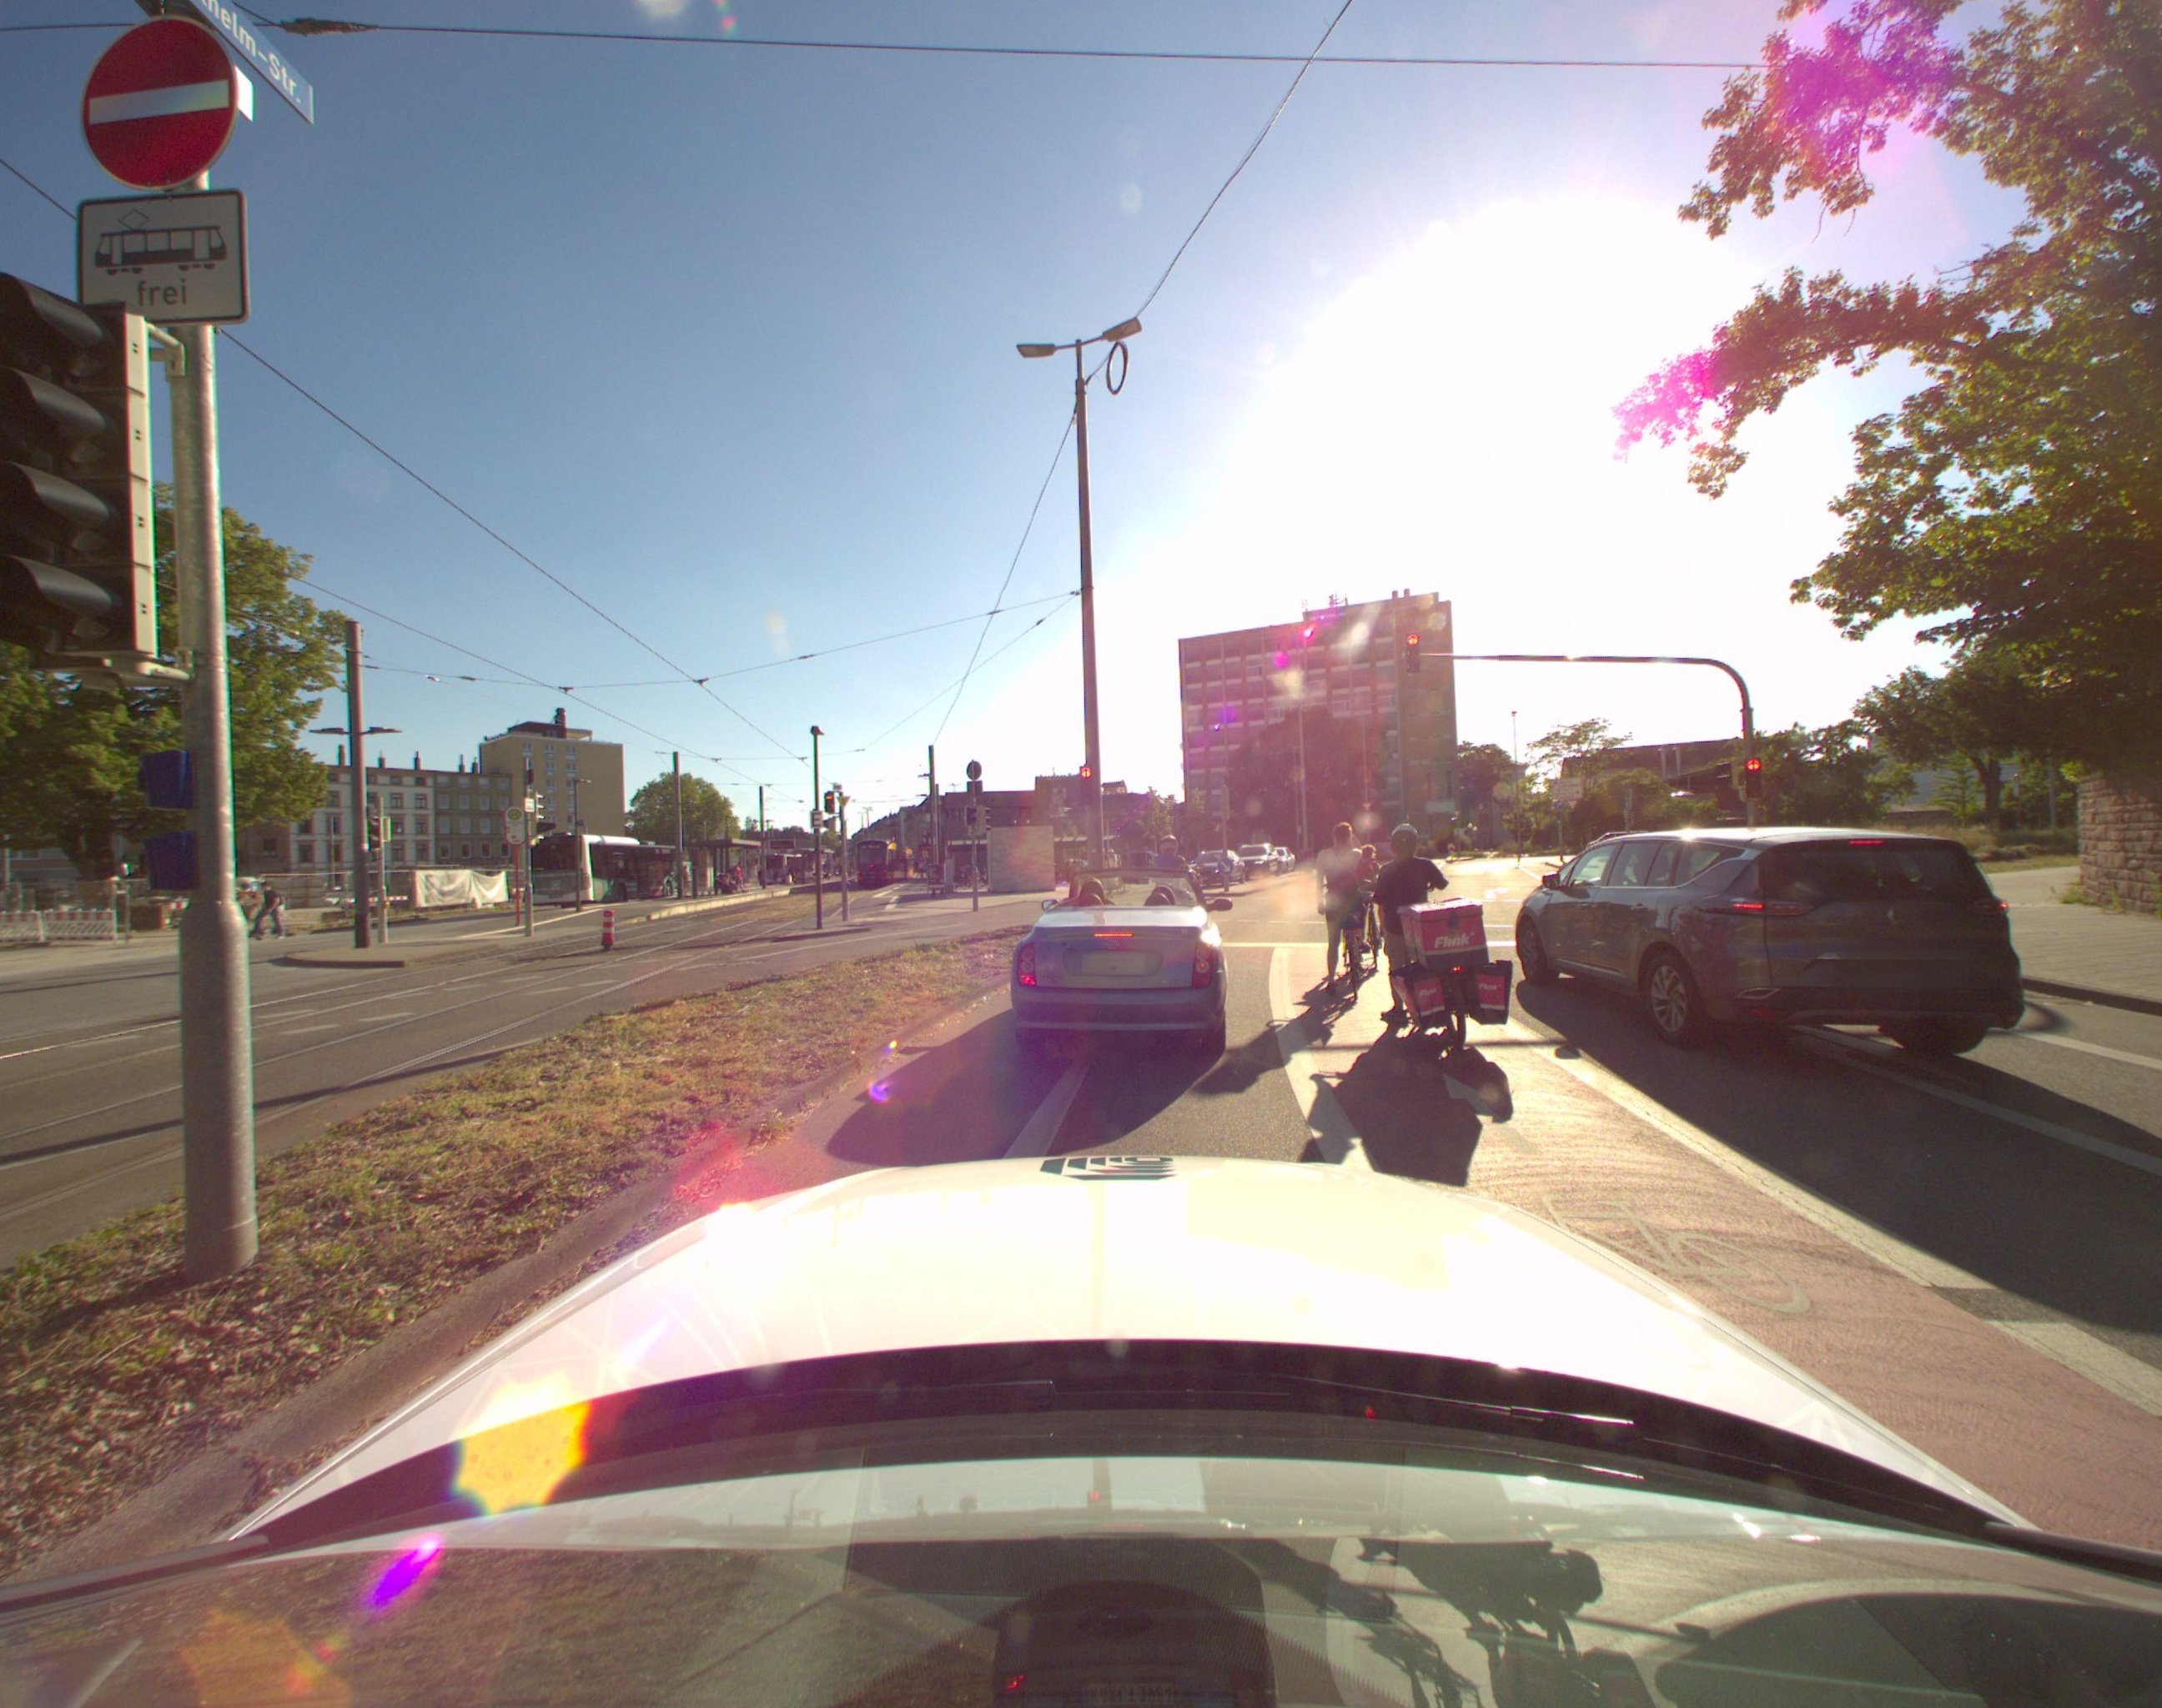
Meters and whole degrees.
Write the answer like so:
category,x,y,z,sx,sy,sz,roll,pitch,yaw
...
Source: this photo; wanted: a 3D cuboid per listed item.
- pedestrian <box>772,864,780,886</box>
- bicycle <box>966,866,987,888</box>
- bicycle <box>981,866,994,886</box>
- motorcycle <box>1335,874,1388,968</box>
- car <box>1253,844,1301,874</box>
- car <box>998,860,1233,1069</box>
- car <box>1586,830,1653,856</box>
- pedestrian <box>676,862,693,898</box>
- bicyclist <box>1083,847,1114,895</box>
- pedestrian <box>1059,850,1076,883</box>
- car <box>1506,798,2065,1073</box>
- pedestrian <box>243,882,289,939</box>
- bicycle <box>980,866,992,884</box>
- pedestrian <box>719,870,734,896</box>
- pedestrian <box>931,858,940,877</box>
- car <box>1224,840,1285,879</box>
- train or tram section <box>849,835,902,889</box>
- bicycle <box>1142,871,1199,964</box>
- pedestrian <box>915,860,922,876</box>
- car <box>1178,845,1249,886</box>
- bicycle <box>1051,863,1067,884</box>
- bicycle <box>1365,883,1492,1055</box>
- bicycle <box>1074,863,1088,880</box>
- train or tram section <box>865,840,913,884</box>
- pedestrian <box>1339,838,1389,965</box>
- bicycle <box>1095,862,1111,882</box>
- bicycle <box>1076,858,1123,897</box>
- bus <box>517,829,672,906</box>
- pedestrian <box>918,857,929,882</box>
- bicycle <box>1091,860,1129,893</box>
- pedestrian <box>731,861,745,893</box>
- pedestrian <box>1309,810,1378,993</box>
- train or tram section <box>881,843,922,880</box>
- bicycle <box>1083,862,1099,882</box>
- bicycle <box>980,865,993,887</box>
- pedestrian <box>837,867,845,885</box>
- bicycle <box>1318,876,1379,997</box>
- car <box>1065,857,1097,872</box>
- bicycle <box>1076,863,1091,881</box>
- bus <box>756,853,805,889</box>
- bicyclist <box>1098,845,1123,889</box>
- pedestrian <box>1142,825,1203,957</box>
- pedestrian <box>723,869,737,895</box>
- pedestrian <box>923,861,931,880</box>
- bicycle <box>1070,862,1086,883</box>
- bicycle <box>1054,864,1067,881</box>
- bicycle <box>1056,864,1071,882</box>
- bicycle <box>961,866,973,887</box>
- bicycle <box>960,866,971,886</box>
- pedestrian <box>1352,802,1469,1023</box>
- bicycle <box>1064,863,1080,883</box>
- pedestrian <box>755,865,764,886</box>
category,x,y,z,sx,sy,sz,roll,pitch,yaw
pedestrian,-25.175,1.716,67.227,0.571,1.749,0.636,-2,-1,-17
bicycle,-5.467,1.204,42.735,0.603,1.115,1.901,0,-1,8
bicycle,-5.375,1.225,46.734,0.607,1.115,1.890,0,-1,-10
motorcycle,3.826,0.845,11.104,0.608,1.097,2.371,-1,-1,19
car,11.165,0.252,46.216,1.678,1.560,4.004,-3,0,28
car,0.548,0.783,7.795,1.650,1.441,4.164,-1,-1,9
car,45.581,-0.920,68.998,4.645,1.945,1.927,-3,-1,33
pedestrian,-19.682,1.274,40.466,0.536,1.749,0.559,-2,-1,-4
bicyclist,0.627,0.596,28.903,0.702,1.657,0.906,-5,-2,24
pedestrian,-0.782,0.706,46.907,0.901,1.869,0.684,0,-1,-11
car,5.540,0.523,7.319,1.820,1.689,4.381,-1,-1,10
pedestrian,-25.505,1.763,25.504,0.712,1.697,0.893,-3,-2,-25
bicycle,-5.902,1.288,50.623,0.607,1.115,1.890,0,-1,-10
pedestrian,-18.603,1.521,42.775,0.617,1.340,0.438,-2,-1,-15
pedestrian,-13.504,1.235,75.692,0.639,1.749,0.732,-2,-1,-17
car,8.523,0.232,39.685,1.745,1.706,4.557,-4,-1,26
train or tram section,-15.262,0.583,61.215,2.881,3.597,12.158,0,-1,-10
bicycle,1.357,0.866,11.986,0.604,1.191,2.422,-1,-1,12
pedestrian,-18.073,1.531,90.534,0.604,1.749,0.830,-2,-1,-6
car,5.546,0.469,33.642,1.720,1.574,3.948,-1,-1,28
bicycle,-1.254,1.082,45.294,0.607,1.115,1.890,0,-1,-10
bicycle,2.934,0.873,7.094,0.550,1.171,2.380,-1,-1,12
bicycle,-0.031,1.133,53.390,0.607,1.115,1.890,0,-1,-10
train or tram section,-17.067,0.706,73.257,3.010,3.597,12.165,0,-1,-8
pedestrian,3.770,0.606,10.844,0.583,1.598,1.030,-1,-1,19
bicycle,1.238,1.007,45.679,0.606,1.115,1.892,0,-1,-7
bicycle,0.674,0.812,28.969,0.668,1.250,2.471,-5,-1,24
bus,-22.371,0.573,38.221,2.652,3.135,9.617,0,-1,-8
pedestrian,-11.095,1.092,57.290,0.639,1.749,0.569,-2,-1,-17
bicycle,1.153,0.847,31.572,0.668,1.180,2.195,-3,0,24
pedestrian,-19.112,1.276,45.338,0.571,1.749,0.636,-2,-1,-15
pedestrian,2.835,0.490,8.838,0.654,1.869,0.876,-1,-1,17
train or tram section,-18.602,0.814,85.228,3.037,3.597,12.021,0,-1,-7
bicycle,0.556,1.056,47.713,0.607,1.115,1.890,0,-1,-10
bicycle,-5.178,1.194,44.665,0.607,1.115,1.890,0,-1,-10
pedestrian,-23.843,2.175,80.990,0.641,1.749,0.567,-2,-1,-25
bicycle,2.932,0.836,9.021,0.559,1.151,1.958,-1,-1,17
car,-0.031,1.178,88.863,1.653,1.560,3.559,-2,0,-37
bicycle,0.130,1.138,51.413,0.607,1.115,1.890,0,-1,-10
bus,-29.669,1.588,80.947,2.723,3.274,13.409,0,-1,-12
bicyclist,1.146,0.491,31.601,0.702,1.657,0.747,-3,-1,24
pedestrian,1.368,0.527,12.056,0.828,1.869,0.923,-1,-1,10
pedestrian,-18.733,1.475,43.462,0.571,1.346,0.636,-2,-1,-15
pedestrian,-14.160,1.502,74.979,0.639,1.749,0.732,-2,-1,-17
bicycle,-0.180,1.016,45.410,0.607,1.115,1.890,0,-1,-10
bicycle,-1.347,1.195,53.214,0.607,1.115,1.890,0,-1,-10
bicycle,-1.105,1.164,51.239,0.607,1.115,1.890,0,-1,-10
bicycle,-6.213,1.232,44.358,0.607,1.115,1.890,0,-1,-10
bicycle,-6.561,1.251,46.293,0.606,1.115,1.891,0,-1,-8
pedestrian,2.977,0.503,7.446,0.801,1.869,0.959,-1,-1,10
bicycle,-0.543,1.093,47.351,0.607,1.115,1.890,0,-1,-10
pedestrian,-26.459,1.760,67.026,0.641,1.749,0.567,-2,-1,-25
